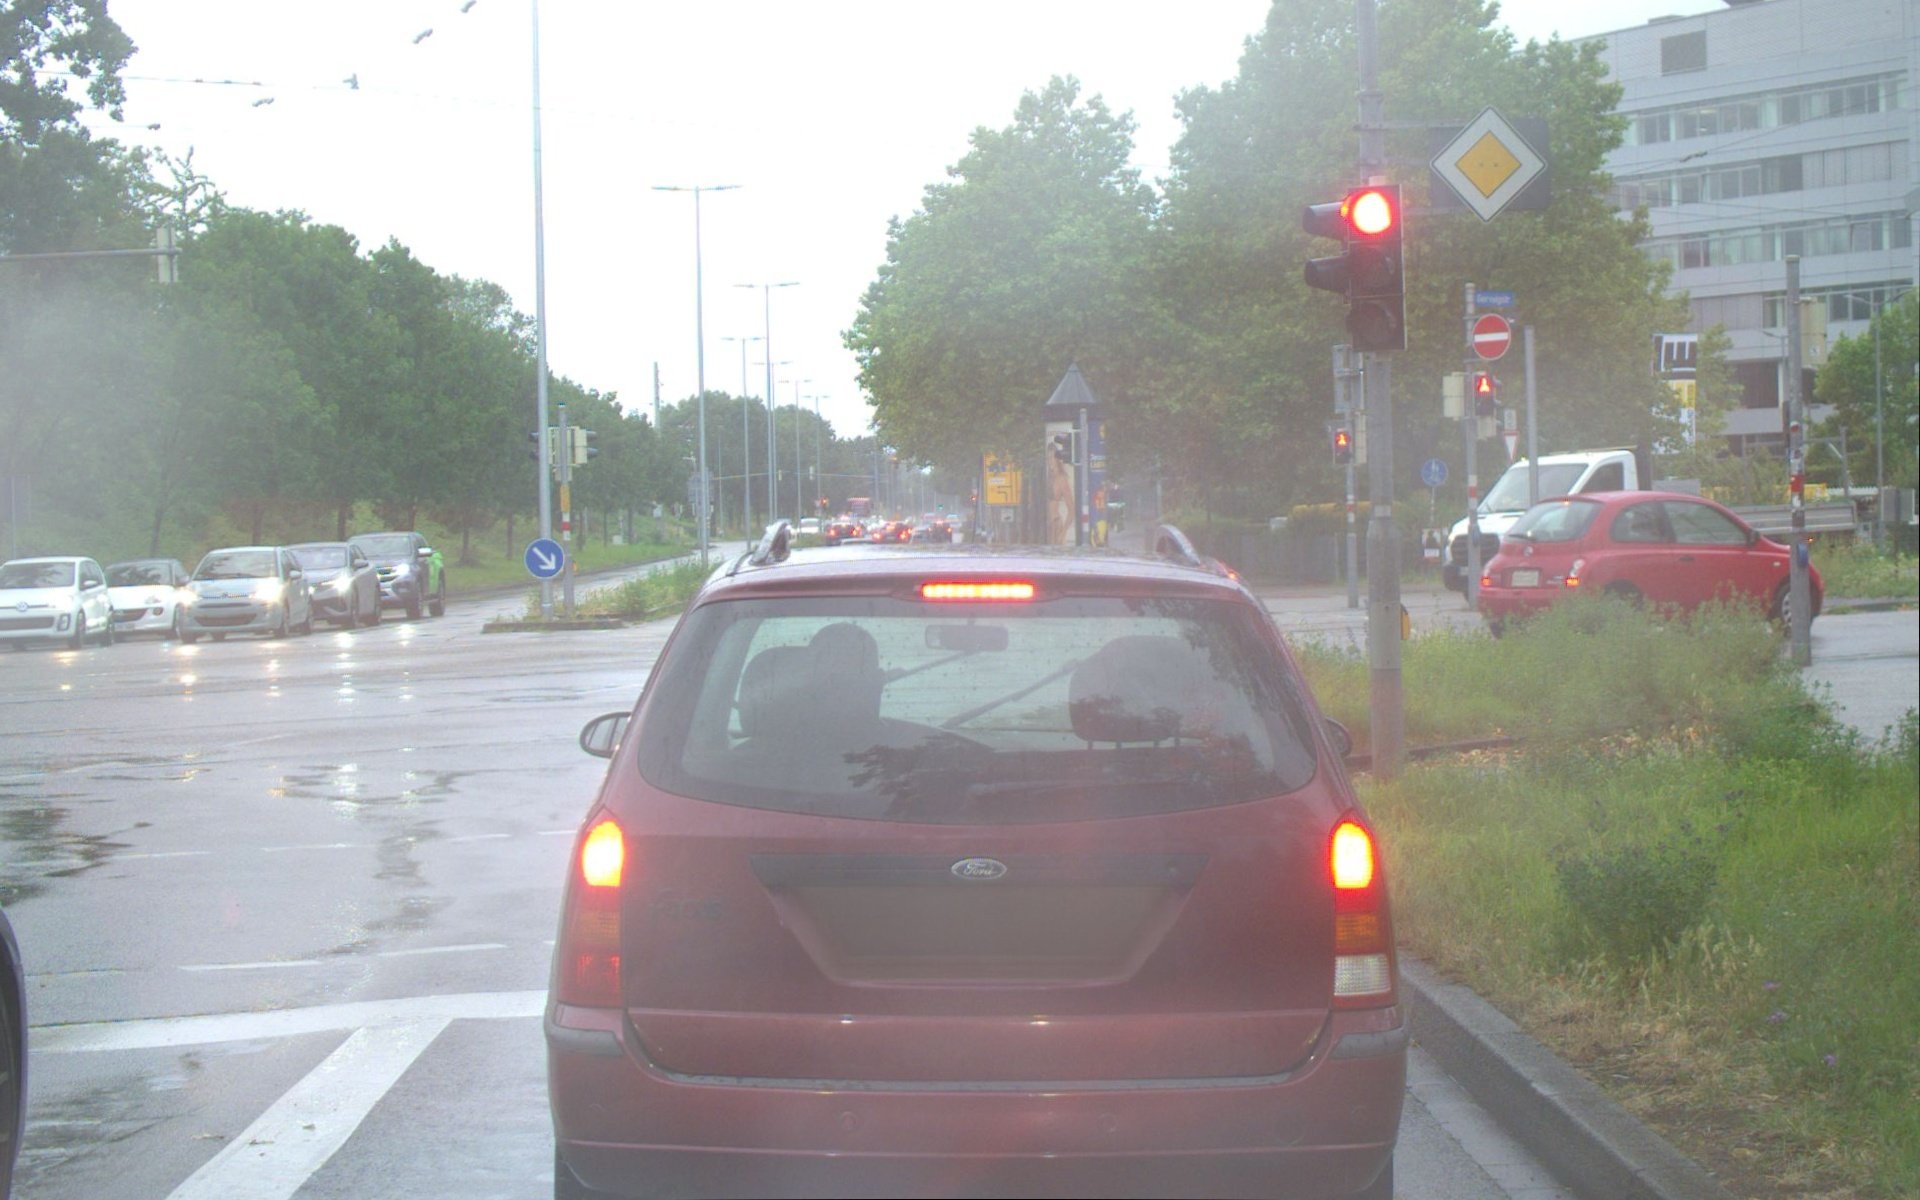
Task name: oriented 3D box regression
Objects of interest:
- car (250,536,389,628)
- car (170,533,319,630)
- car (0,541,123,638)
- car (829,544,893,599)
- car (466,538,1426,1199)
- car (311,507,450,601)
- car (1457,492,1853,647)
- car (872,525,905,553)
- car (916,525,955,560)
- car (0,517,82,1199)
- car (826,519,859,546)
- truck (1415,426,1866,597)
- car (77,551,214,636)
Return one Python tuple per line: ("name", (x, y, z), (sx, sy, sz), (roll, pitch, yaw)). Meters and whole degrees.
("car", (-11.741, -0.343, 63.284), (1.762, 1.580, 4.814), (-2, 1, -2))
("car", (-11.639, -0.334, 56.150), (1.638, 1.468, 3.965), (-2, 1, -1))
("car", (-14.638, -0.190, 55.107), (1.638, 1.447, 3.788), (-2, 1, -3))
("car", (-3.340, -0.955, 115.282), (1.993, 1.784, 4.001), (1, 1, -3))
("car", (-0.076, 0.610, 7.807), (1.642, 1.460, 3.733), (1, 1, -2))
("car", (-11.986, -0.976, 71.445), (2.065, 1.813, 5.542), (-2, 1, -2))
("car", (7.028, -0.336, 34.674), (3.804, 1.485, 1.678), (-1, 1, -32))
("car", (-4.038, -3.422, 194.020), (1.698, 1.522, 3.846), (-1, 1, 1))
("car", (-1.124, -2.662, 158.708), (1.671, 1.522, 3.846), (-1, 1, 1))
("car", (-2.693, 0.654, 4.882), (1.769, 1.568, 4.822), (1, 1, -2))
("car", (-6.919, -3.986, 202.610), (1.698, 1.522, 3.846), (-1, 1, 1))
("truck", (10.117, -1.333, 50.793), (6.846, 2.357, 2.482), (-2, 1, -36))
("car", (-14.516, -0.141, 61.435), (1.590, 1.399, 3.823), (-2, 1, -2))
